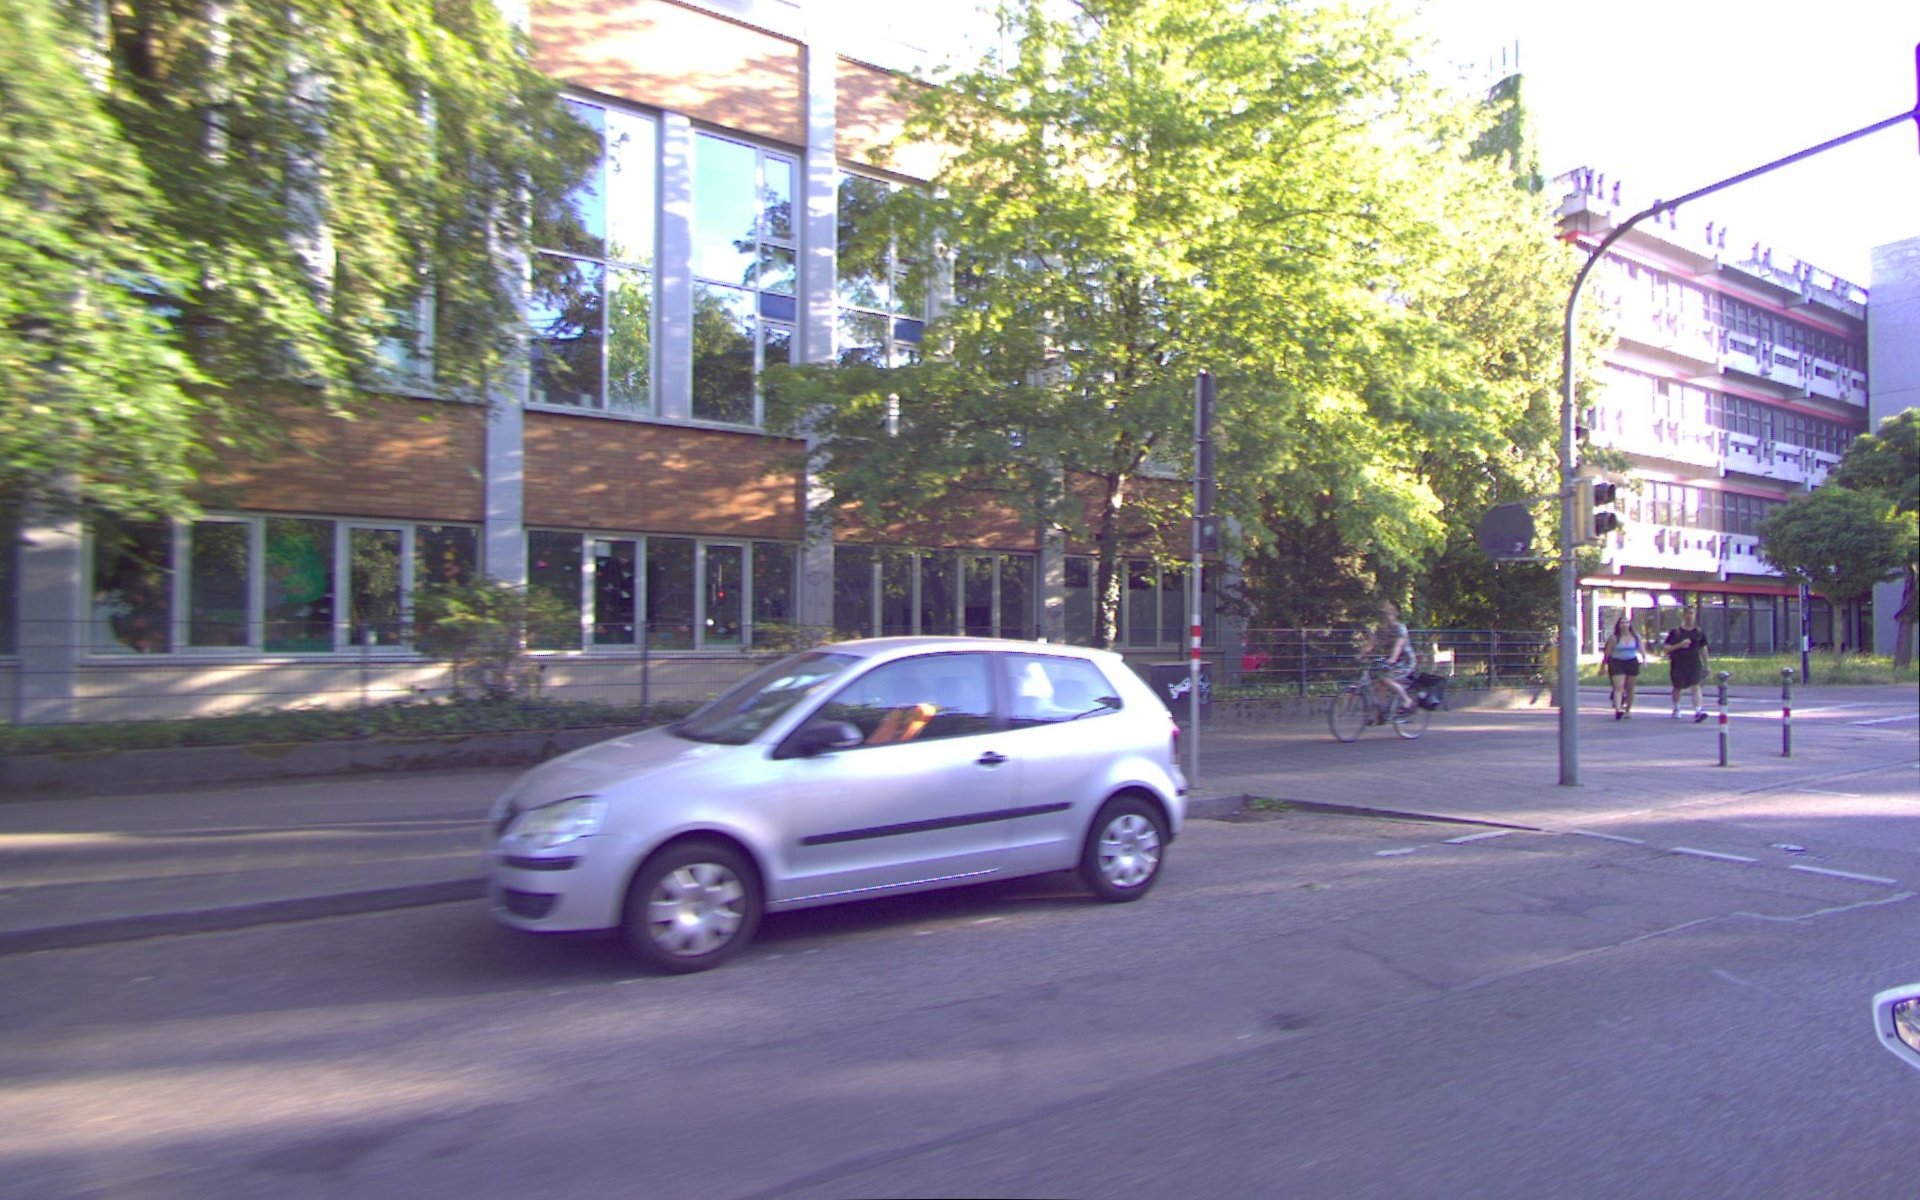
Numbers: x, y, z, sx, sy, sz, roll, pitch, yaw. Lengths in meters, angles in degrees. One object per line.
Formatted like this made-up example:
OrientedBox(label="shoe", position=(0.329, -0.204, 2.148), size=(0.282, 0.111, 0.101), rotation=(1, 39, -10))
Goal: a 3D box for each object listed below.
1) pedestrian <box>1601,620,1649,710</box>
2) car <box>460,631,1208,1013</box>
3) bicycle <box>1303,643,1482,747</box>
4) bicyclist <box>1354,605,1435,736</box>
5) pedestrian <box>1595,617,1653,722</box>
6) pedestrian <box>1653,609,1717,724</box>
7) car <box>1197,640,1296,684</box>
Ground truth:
OrientedBox(label="pedestrian", position=(12.817, 1.234, 19.363), size=(0.704, 1.684, 0.764), rotation=(-2, -2, 36))
OrientedBox(label="car", position=(-0.638, 0.942, 5.638), size=(3.834, 1.476, 1.672), rotation=(1, -3, -29))
OrientedBox(label="bicycle", position=(5.555, 1.193, 12.914), size=(2.155, 1.265, 0.686), rotation=(1, -1, -15))
OrientedBox(label="bicyclist", position=(5.573, 0.886, 12.911), size=(0.694, 1.624, 0.676), rotation=(1, -1, -14))
OrientedBox(label="pedestrian", position=(11.022, 1.140, 16.702), size=(0.703, 1.684, 0.706), rotation=(-1, -2, 28))
OrientedBox(label="pedestrian", position=(12.093, 1.088, 16.772), size=(0.809, 1.848, 0.954), rotation=(-2, -2, 36))
OrientedBox(label="car", position=(10.218, 2.205, 35.966), size=(1.363, 1.476, 3.240), rotation=(4, -4, -38))
